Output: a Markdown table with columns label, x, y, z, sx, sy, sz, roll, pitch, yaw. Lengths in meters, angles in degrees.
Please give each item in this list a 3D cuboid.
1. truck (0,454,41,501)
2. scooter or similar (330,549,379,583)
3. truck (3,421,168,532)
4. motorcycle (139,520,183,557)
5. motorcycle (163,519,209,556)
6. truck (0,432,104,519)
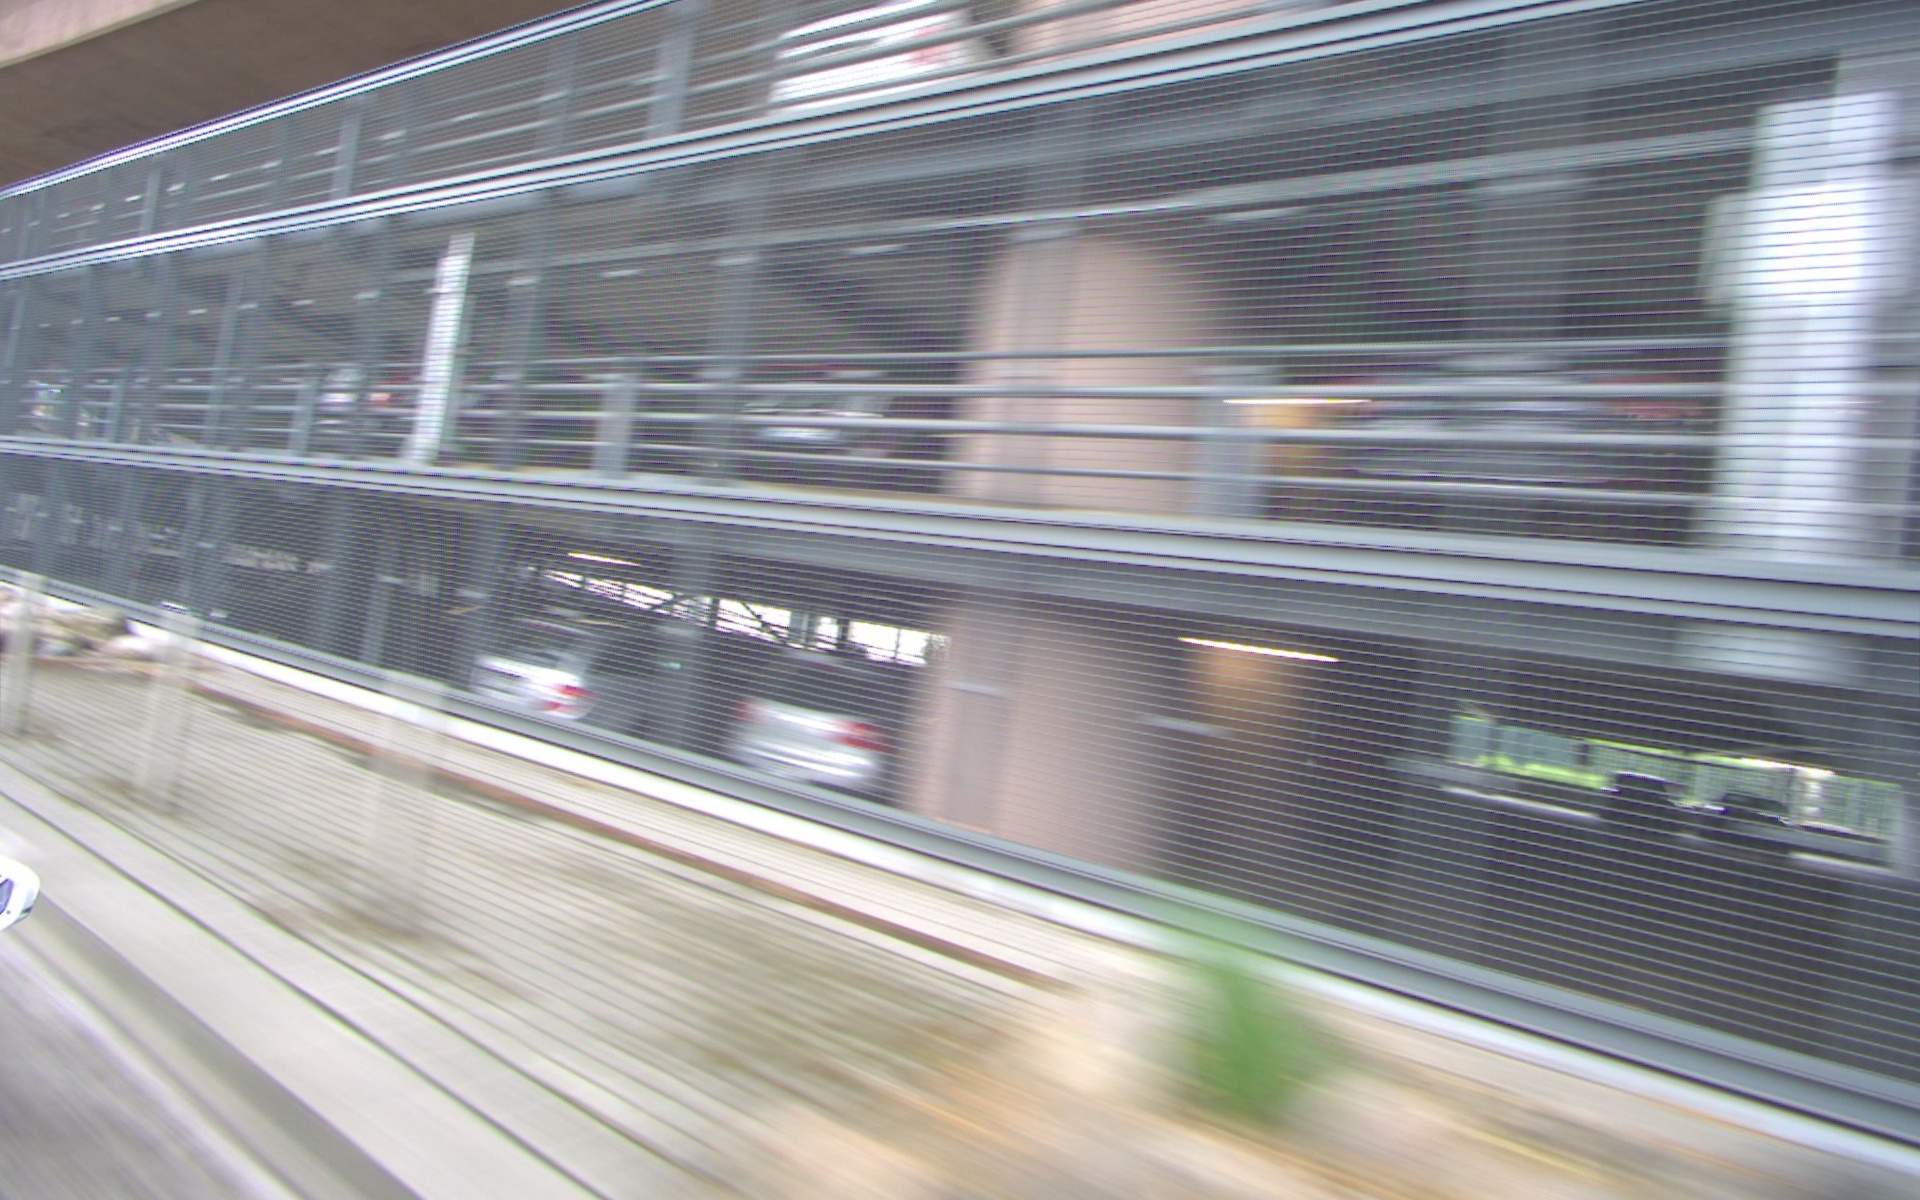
| label | x | y | z | sx | sy | sz | roll | pitch | yaw |
| --- | --- | --- | --- | --- | --- | --- | --- | --- | --- |
| truck | -68.039 | -8.787 | 69.319 | 3.098 | 2.981 | 8.689 | 6 | 0 | -15 |
| scooter or similar | -27.395 | -1.543 | 45.526 | 1.657 | 1.232 | 0.542 | 12 | 1 | -17 |
| truck | -50.606 | -6.916 | 58.718 | 3.102 | 4.981 | 9.691 | 8 | -1 | -17 |
| motorcycle | -32.397 | -2.496 | 40.797 | 2.291 | 1.118 | 0.544 | 11 | 0 | 32 |
| motorcycle | -32.457 | -2.611 | 42.166 | 2.289 | 1.118 | 0.573 | 12 | 1 | 29 |
| truck | -59.364 | -7.935 | 64.277 | 3.102 | 4.495 | 9.691 | 8 | -1 | -17 |
